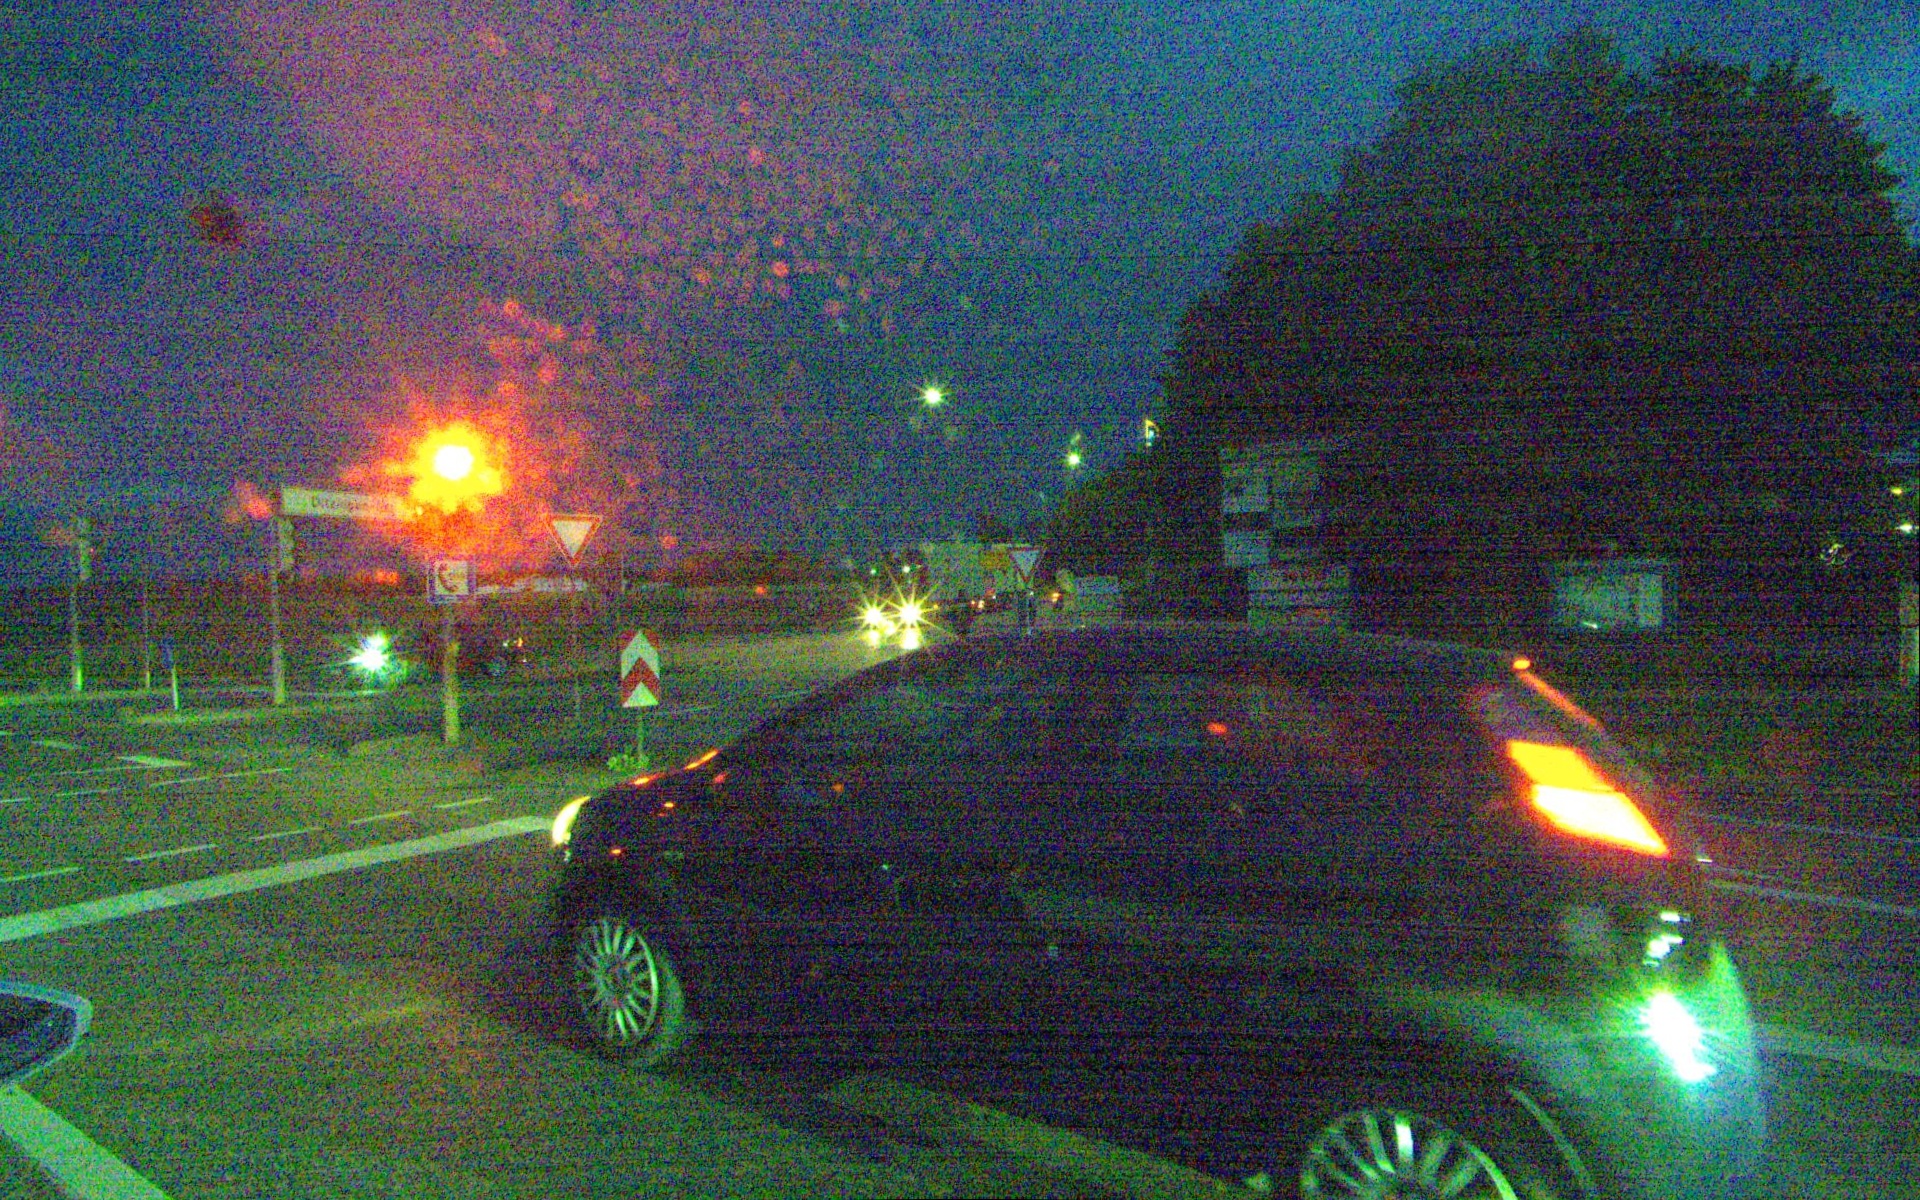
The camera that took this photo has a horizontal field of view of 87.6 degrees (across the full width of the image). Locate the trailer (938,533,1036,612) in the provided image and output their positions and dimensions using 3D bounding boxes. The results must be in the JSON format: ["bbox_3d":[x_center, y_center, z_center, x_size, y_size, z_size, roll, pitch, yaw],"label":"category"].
[{"bbox_3d":[1.817,-1.722,60.657,2.875,4.361,9.043,-1,2,22],"label":"trailer"}]

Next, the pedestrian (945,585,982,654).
[{"bbox_3d":[0.096,0.544,27.992,0.861,1.859,0.731,-3,1,6],"label":"pedestrian"}]

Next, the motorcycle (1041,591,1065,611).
[{"bbox_3d":[5.414,0.058,58.163,0.964,1.113,2.505,0,0,15],"label":"motorcycle"}]

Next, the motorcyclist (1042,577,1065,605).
[{"bbox_3d":[5.457,-0.541,58.400,1.120,1.605,0.971,0,1,15],"label":"motorcyclist"}]

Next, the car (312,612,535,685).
[{"bbox_3d":[-13.371,1.135,25.246,1.972,1.541,4.590,0,1,33],"label":"car"}]

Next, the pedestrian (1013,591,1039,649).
[{"bbox_3d":[2.265,0.679,34.260,0.860,1.925,0.660,-1,1,6],"label":"pedestrian"}]

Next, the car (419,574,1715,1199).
[{"bbox_3d":[0.018,0.769,3.481,4.049,1.540,1.666,-1,-1,34],"label":"car"}]

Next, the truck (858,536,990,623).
[{"bbox_3d":[-1.595,-1.017,51.896,2.875,4.033,10.042,0,1,23],"label":"truck"}]
